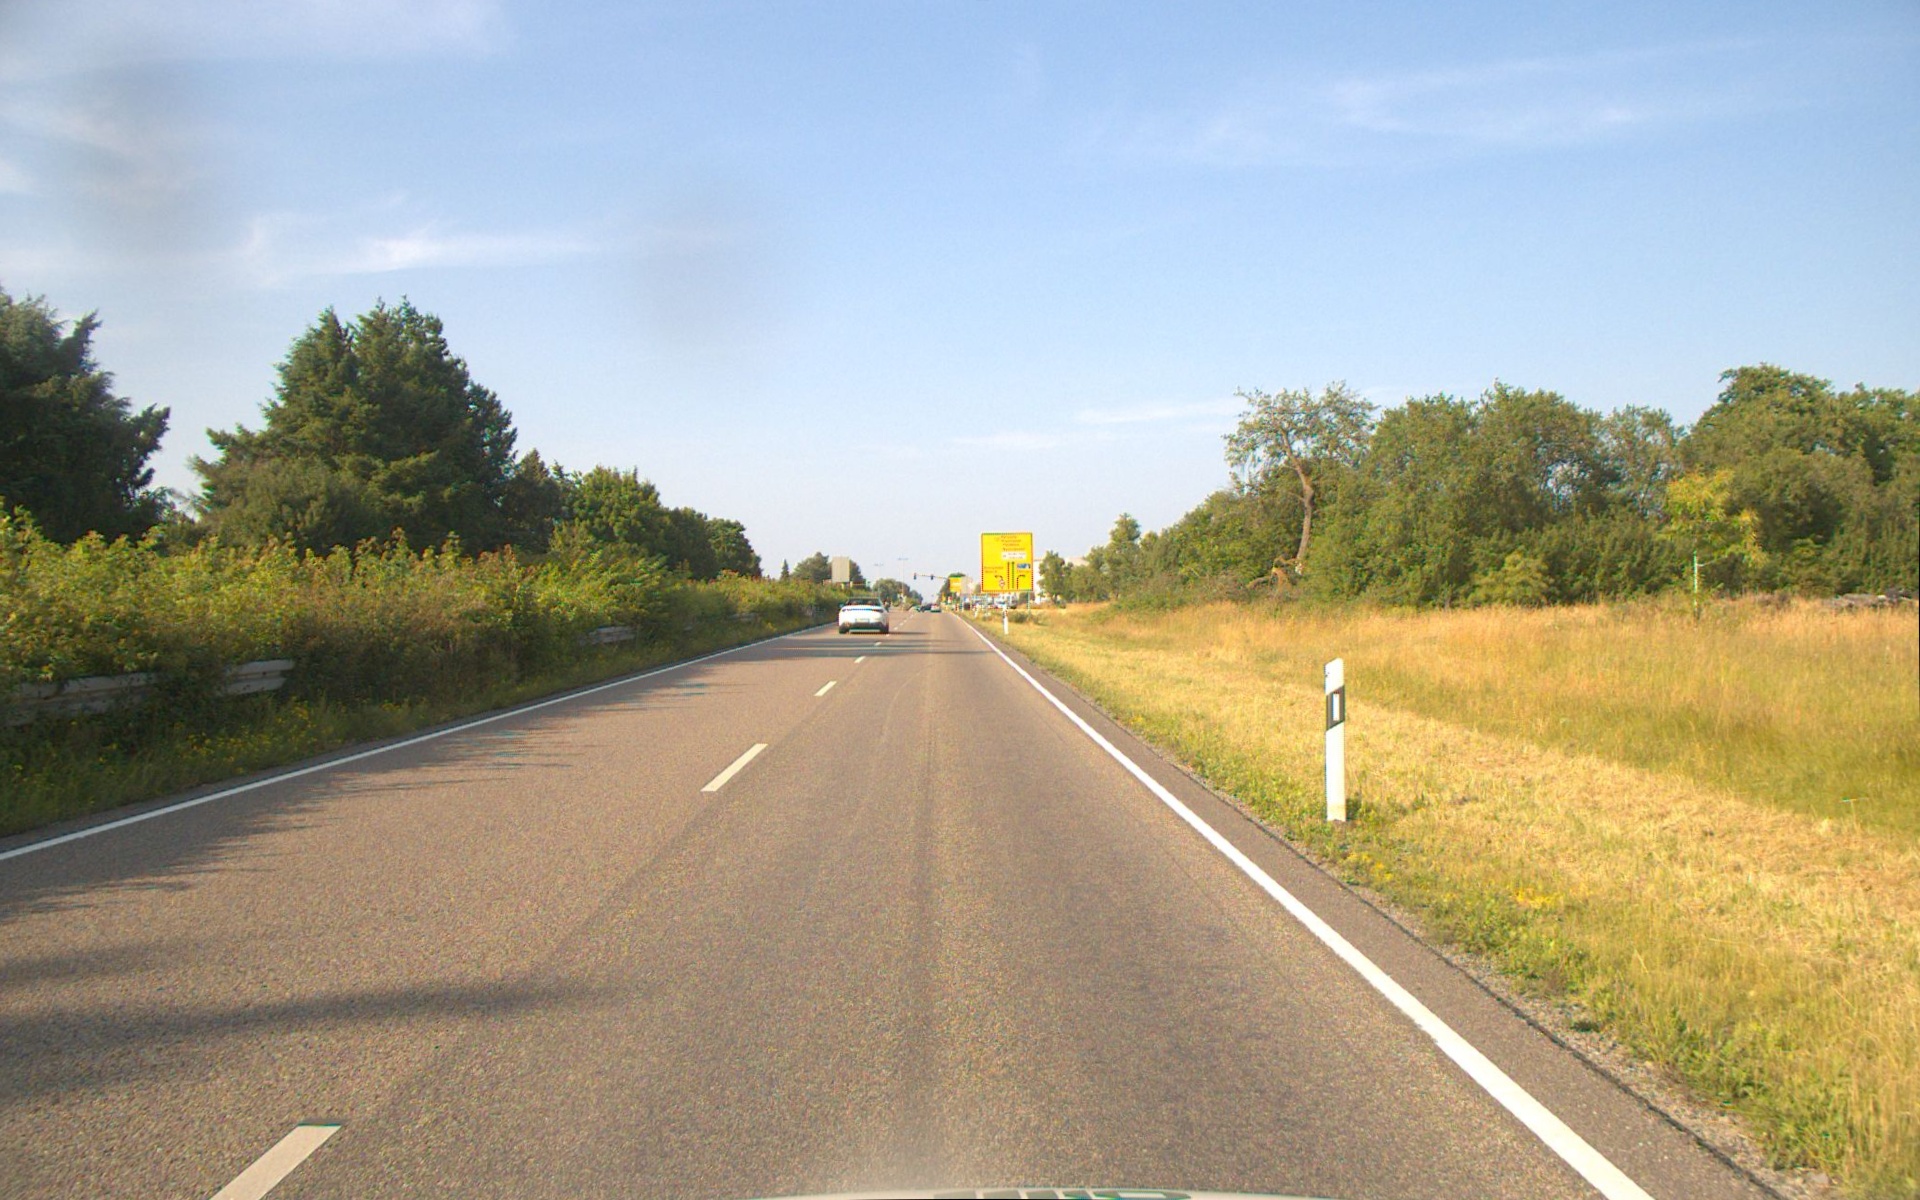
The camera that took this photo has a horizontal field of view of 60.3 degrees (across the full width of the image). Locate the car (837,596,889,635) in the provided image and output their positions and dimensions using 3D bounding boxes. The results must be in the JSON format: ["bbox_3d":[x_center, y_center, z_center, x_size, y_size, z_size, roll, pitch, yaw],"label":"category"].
[{"bbox_3d":[-3.705,0.569,63.620,1.871,1.447,3.999,1,0,-2],"label":"car"}]
